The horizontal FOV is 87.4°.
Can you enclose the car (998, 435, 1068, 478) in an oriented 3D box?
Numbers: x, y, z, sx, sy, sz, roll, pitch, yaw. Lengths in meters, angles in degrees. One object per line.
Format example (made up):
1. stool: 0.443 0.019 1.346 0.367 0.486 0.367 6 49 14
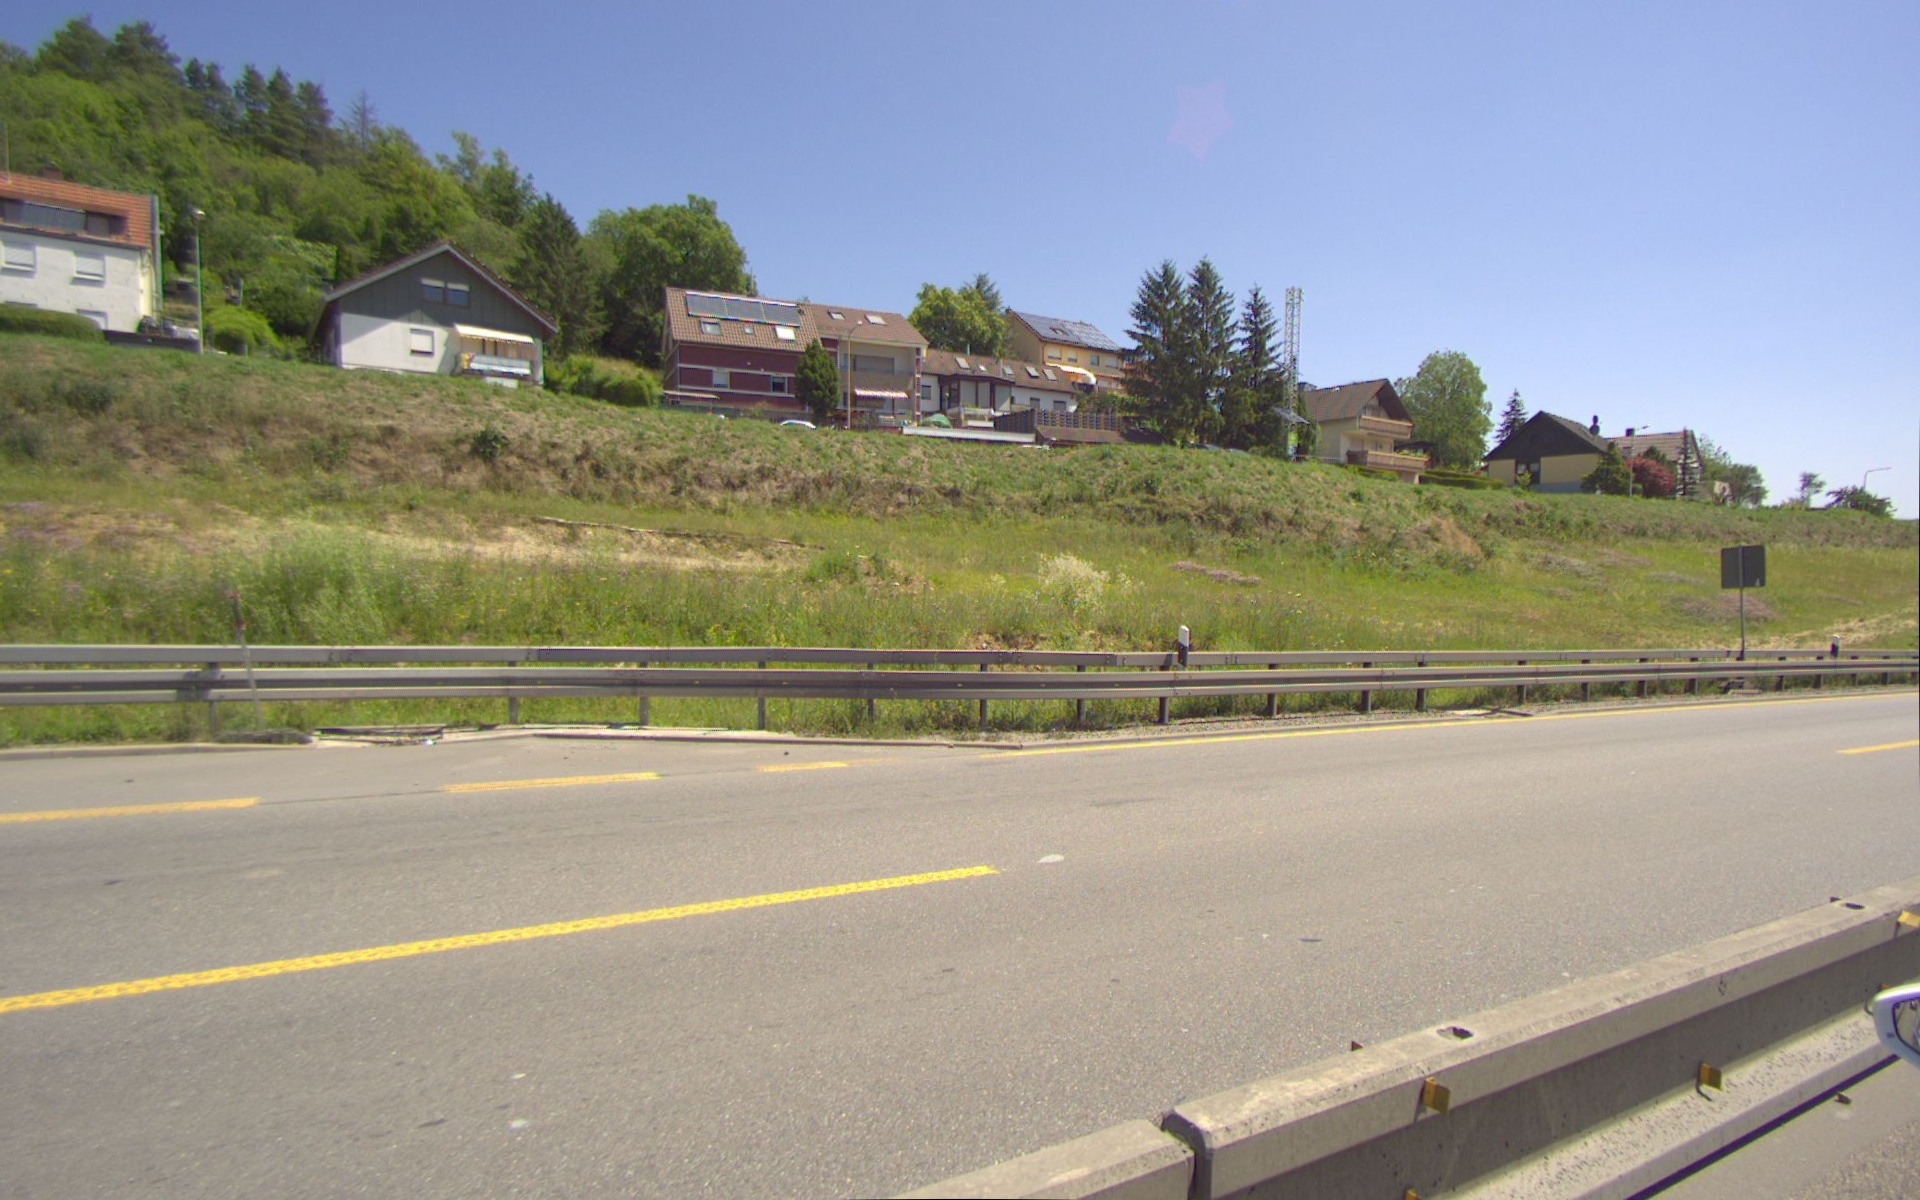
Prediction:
1. car: 4.610 -9.045 63.541 3.947 2.040 1.987 3 -1 -25
